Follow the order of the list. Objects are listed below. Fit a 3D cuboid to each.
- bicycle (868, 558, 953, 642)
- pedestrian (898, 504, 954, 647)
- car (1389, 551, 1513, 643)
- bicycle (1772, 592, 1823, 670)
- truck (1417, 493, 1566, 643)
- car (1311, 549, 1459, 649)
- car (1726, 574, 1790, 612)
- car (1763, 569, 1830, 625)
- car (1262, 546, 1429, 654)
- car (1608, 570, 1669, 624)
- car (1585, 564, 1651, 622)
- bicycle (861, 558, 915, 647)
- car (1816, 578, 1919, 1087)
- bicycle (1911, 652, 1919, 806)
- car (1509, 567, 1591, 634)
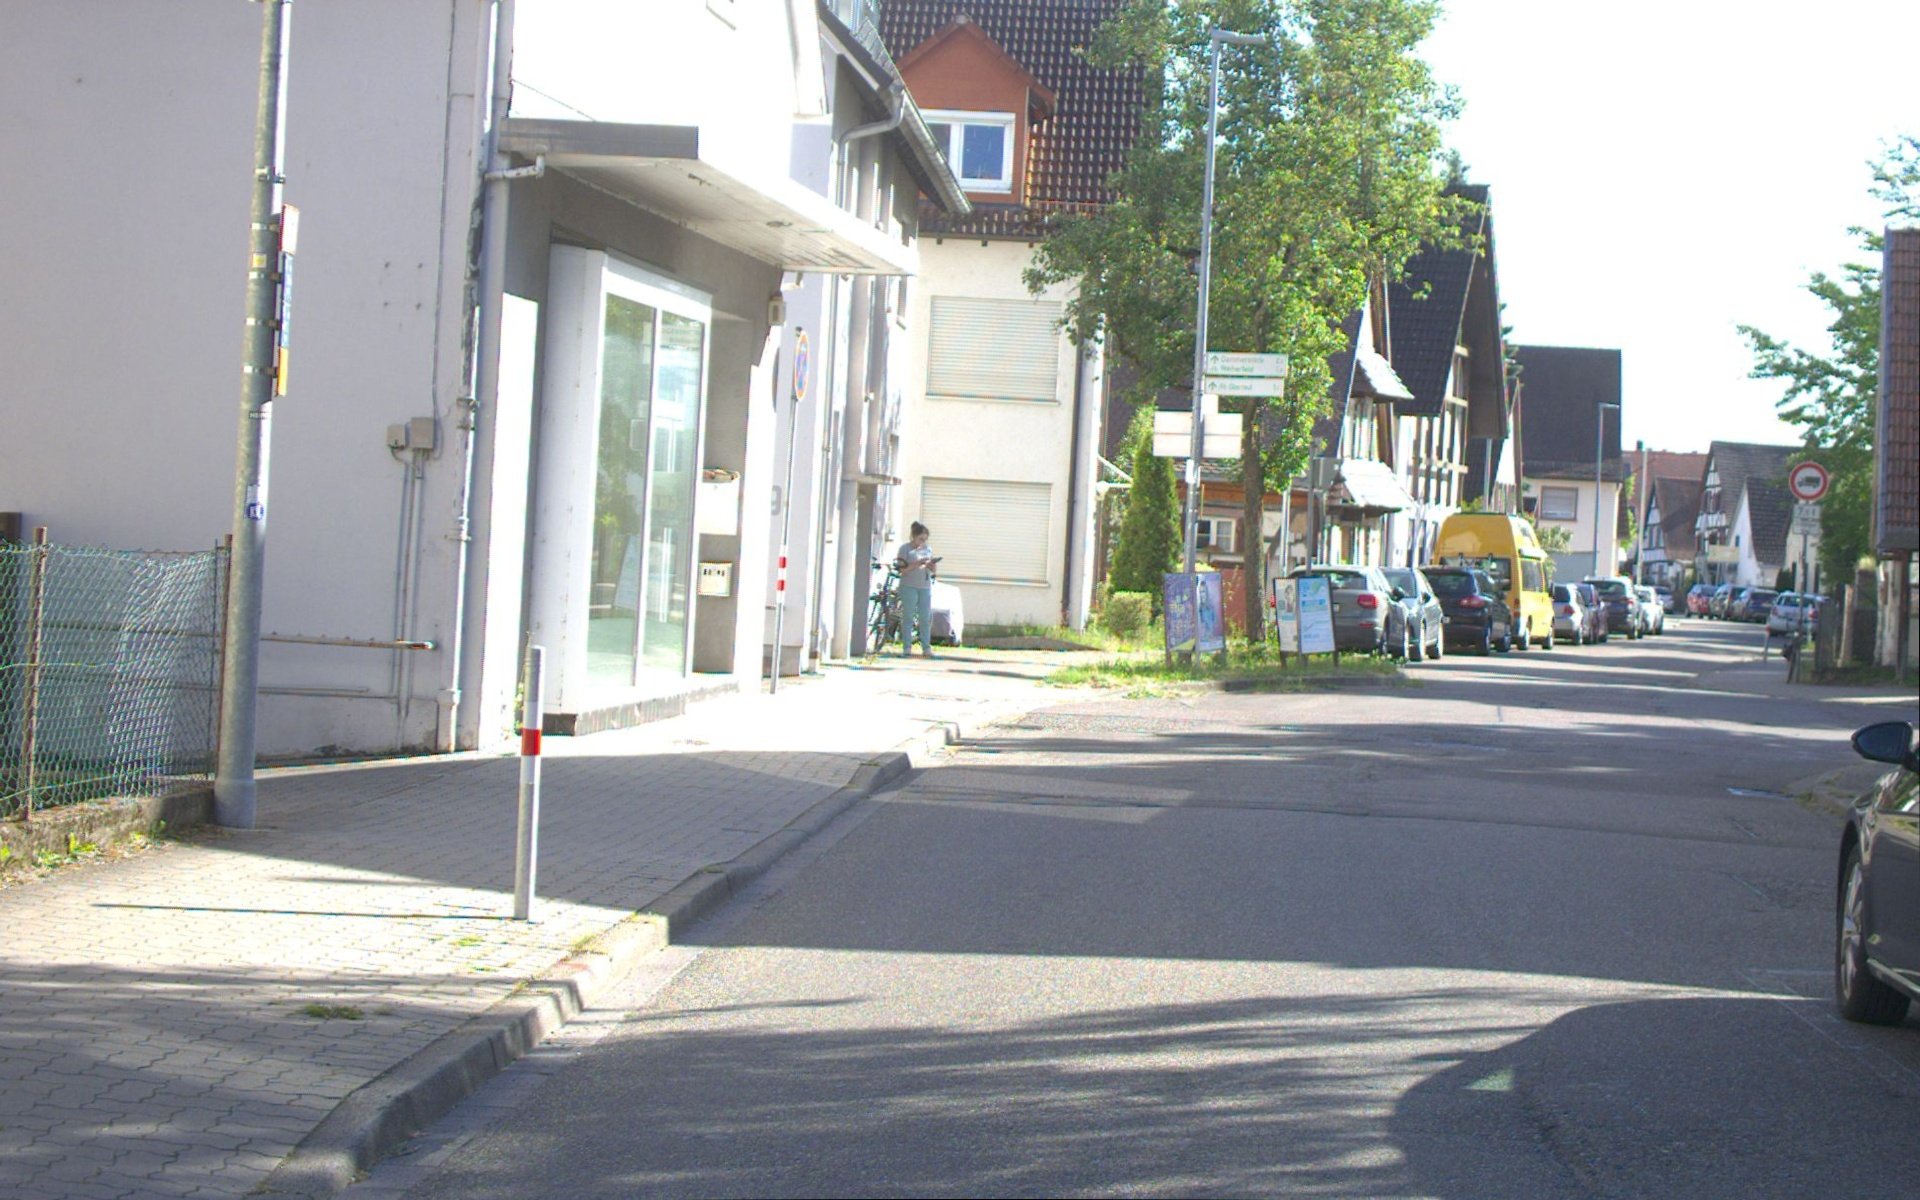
[{"bbox_3d":[-0.638,0.012,45.035,0.578,1.049,2.035,3,0,13],"label":"bicycle"},{"bbox_3d":[-0.411,-0.293,41.728,0.483,1.687,0.556,4,-1,10],"label":"pedestrian"},{"bbox_3d":[9.417,-0.053,65.707,1.808,1.616,3.878,3,1,15],"label":"car"},{"bbox_3d":[12.932,0.471,53.062,0.434,1.172,1.826,3,1,23],"label":"bicycle"},{"bbox_3d":[11.043,-0.629,71.031,2.270,2.858,5.778,3,1,15],"label":"truck"},{"bbox_3d":[7.097,-0.014,57.085,1.808,1.500,4.104,3,1,15],"label":"car"},{"bbox_3d":[36.404,-0.328,156.873,1.973,1.577,3.995,3,1,1],"label":"car"},{"bbox_3d":[27.945,-0.109,114.983,1.974,1.708,3.992,4,1,12],"label":"car"},{"bbox_3d":[5.965,0.002,52.844,1.869,1.500,4.104,3,1,15],"label":"car"},{"bbox_3d":[19.624,-0.103,99.365,1.589,1.438,3.613,4,1,12],"label":"car"},{"bbox_3d":[17.693,-0.201,92.359,1.589,1.438,3.613,4,1,12],"label":"car"},{"bbox_3d":[-0.867,0.032,41.623,0.423,1.049,1.381,3,0,7],"label":"bicycle"},{"bbox_3d":[3.724,0.741,9.954,1.808,1.431,4.285,3,2,7],"label":"car"},{"bbox_3d":[7.008,0.936,23.646,0.435,1.076,1.890,2,1,2],"label":"bicycle"},{"bbox_3d":[13.693,-0.004,79.674,1.646,1.428,3.613,4,1,12],"label":"car"}]
